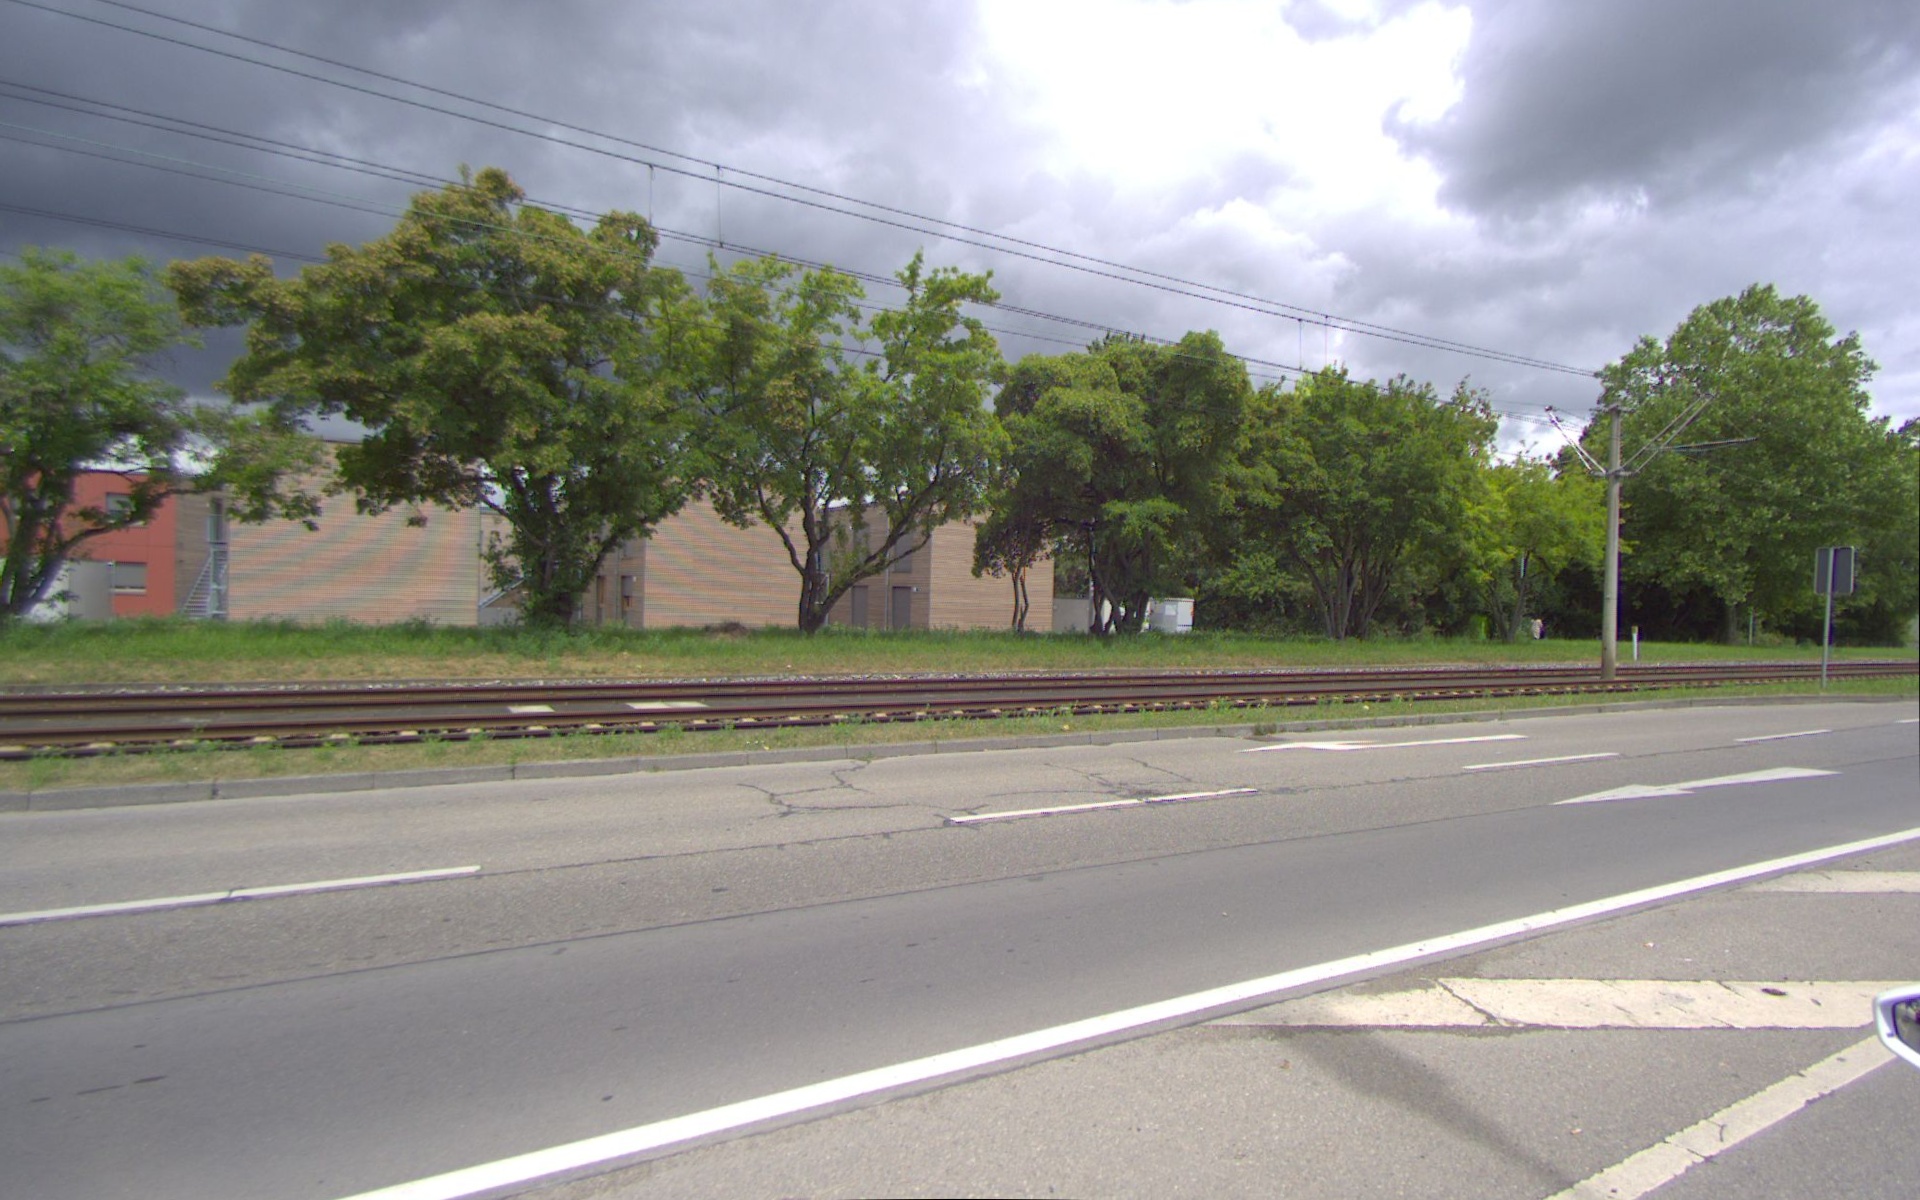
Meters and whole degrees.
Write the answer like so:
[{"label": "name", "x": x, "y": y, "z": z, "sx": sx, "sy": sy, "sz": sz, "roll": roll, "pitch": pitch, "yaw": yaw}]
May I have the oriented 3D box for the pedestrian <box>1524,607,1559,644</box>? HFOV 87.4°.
[{"label": "pedestrian", "x": 31.196, "y": 1.365, "z": 53.865, "sx": 1.348, "sy": 1.959, "sz": 1.029, "roll": 2, "pitch": 1, "yaw": -31}]
